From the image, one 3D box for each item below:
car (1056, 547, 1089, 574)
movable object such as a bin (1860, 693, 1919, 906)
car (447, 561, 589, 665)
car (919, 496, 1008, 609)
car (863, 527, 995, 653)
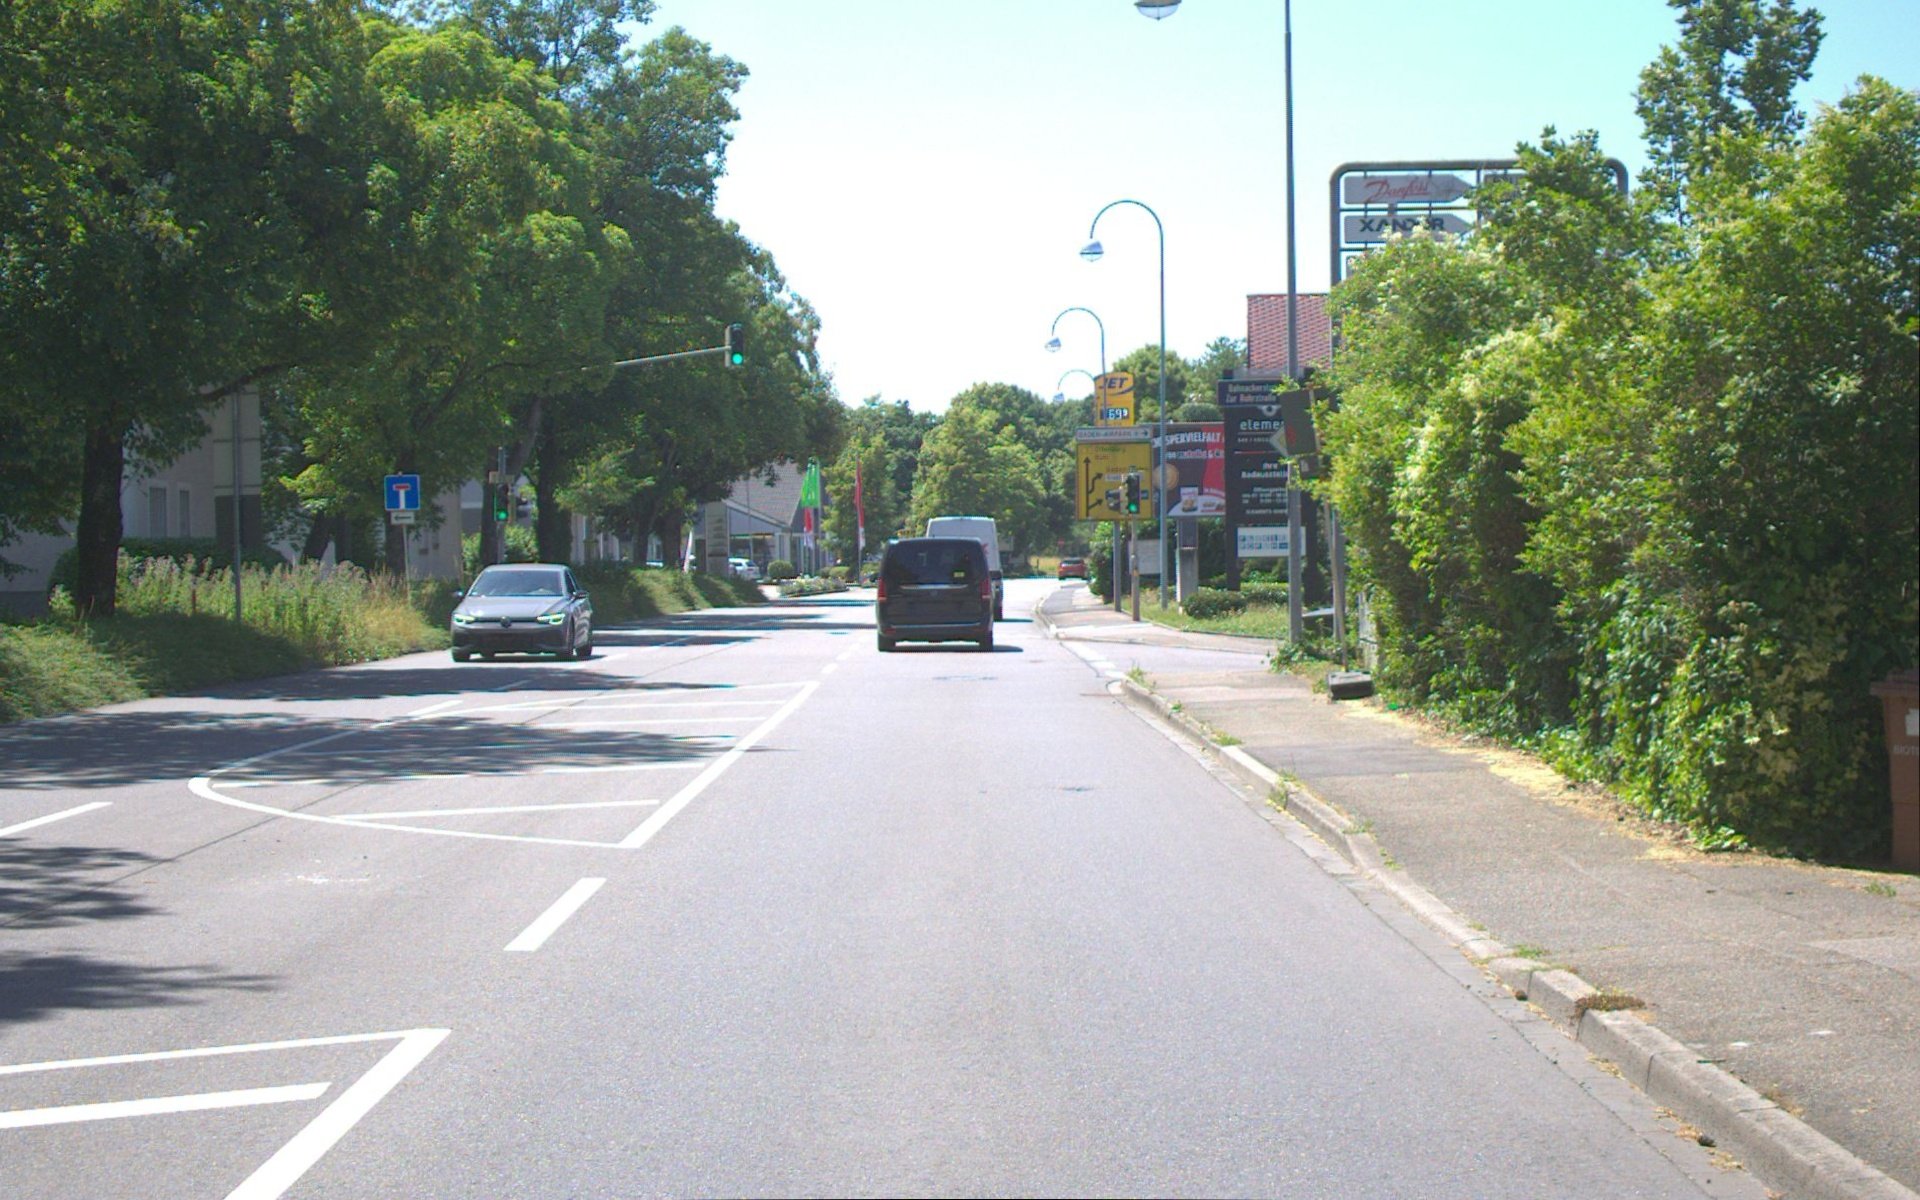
[{"bbox_3d":[7.438,-2.600,226.513,1.858,1.637,4.000,1,2,6],"label":"car"},{"bbox_3d":[4.400,0.901,15.542,0.471,0.924,0.523,2,1,33],"label":"movable object such as a bin"},{"bbox_3d":[-6.667,0.168,52.206,1.721,1.422,4.148,1,2,-2],"label":"car"},{"bbox_3d":[0.117,-1.236,86.842,2.120,2.668,5.662,1,2,1],"label":"car"},{"bbox_3d":[-0.547,-0.198,56.456,1.993,1.886,4.001,1,2,-3],"label":"car"}]
